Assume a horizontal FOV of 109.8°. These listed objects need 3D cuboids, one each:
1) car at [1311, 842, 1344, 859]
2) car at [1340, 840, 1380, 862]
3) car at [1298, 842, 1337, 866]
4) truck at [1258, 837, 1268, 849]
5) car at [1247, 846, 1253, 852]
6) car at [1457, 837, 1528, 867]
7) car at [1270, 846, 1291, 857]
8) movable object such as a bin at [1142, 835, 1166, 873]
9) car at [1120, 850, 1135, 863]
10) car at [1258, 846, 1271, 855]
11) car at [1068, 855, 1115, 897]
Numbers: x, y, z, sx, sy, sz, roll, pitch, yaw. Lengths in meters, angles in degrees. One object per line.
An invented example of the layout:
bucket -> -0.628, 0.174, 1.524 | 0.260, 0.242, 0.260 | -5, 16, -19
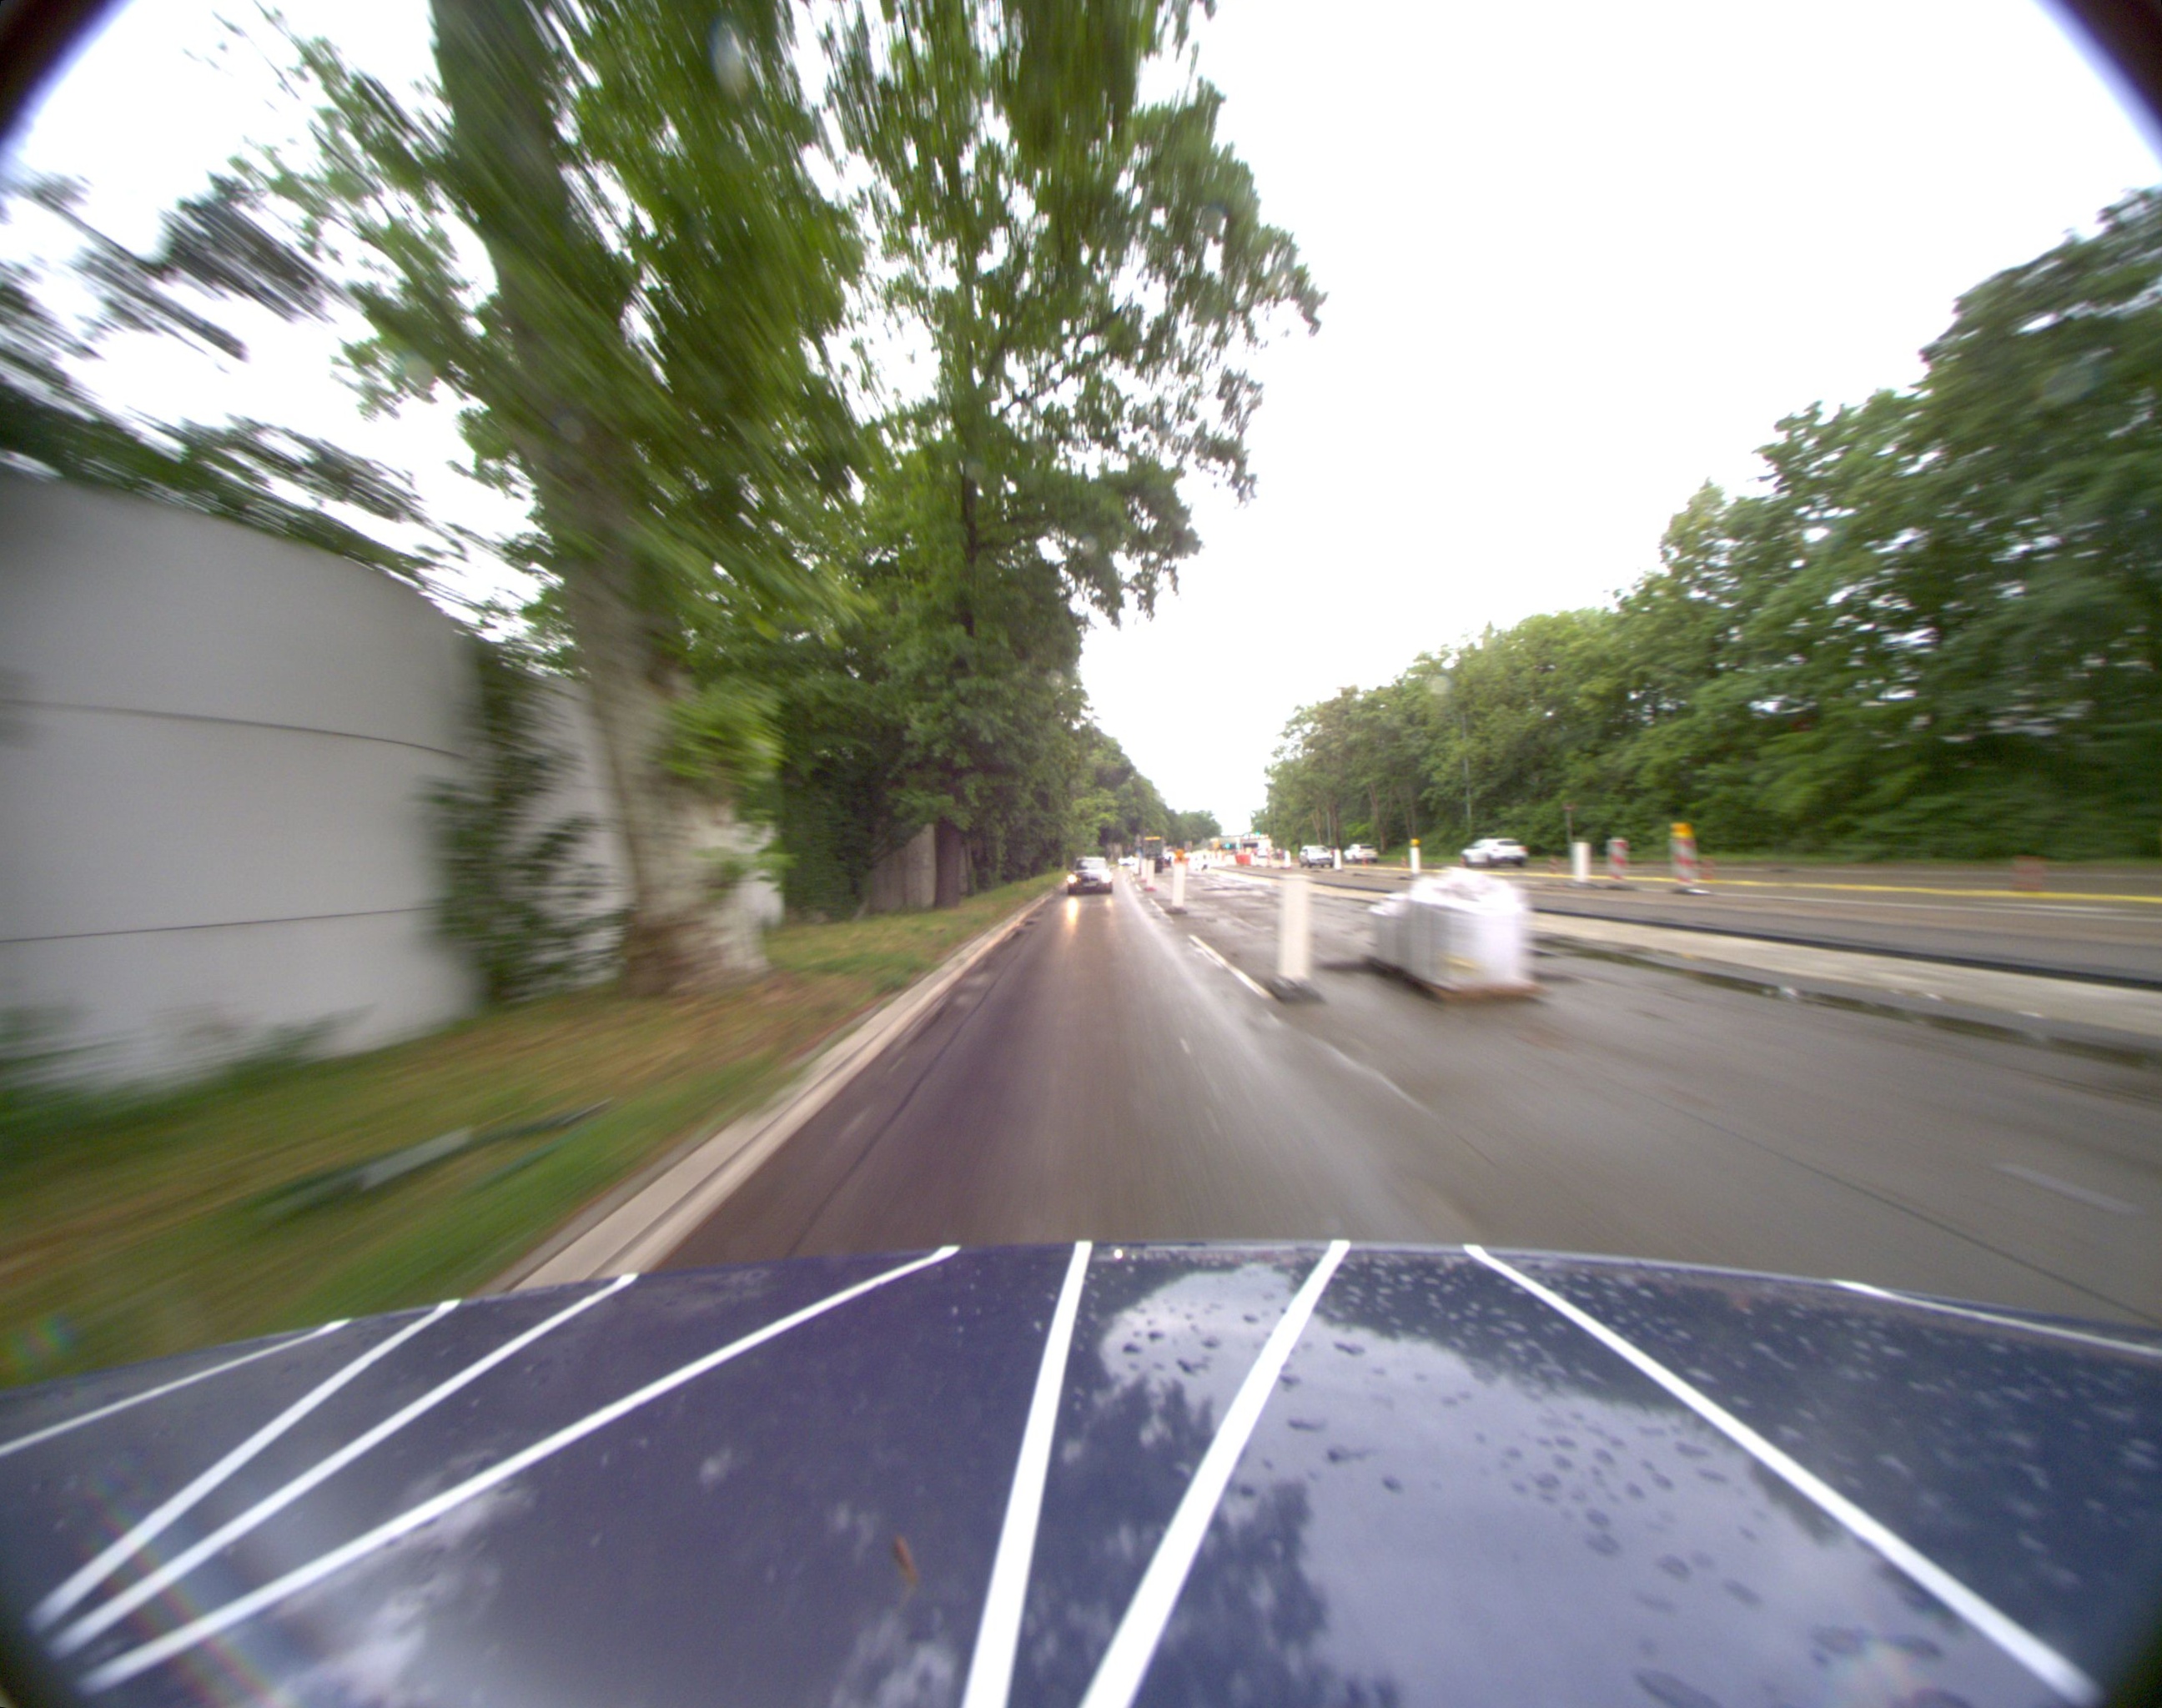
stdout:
car -> 25.196, -0.332, 77.820 | 1.781, 1.654, 4.915 | -1, 0, 0
car -> 23.684, -0.210, 64.594 | 1.781, 1.741, 4.380 | -2, 0, 0
car -> 17.006, 0.017, 54.768 | 1.793, 1.574, 3.862 | -3, 0, 4
truck -> 61.345, -3.788, 256.269 | 3.147, 3.809, 9.655 | -1, 1, 15
car -> 50.853, -1.559, 229.205 | 1.677, 1.604, 3.773 | -1, 0, 12
car -> 22.270, -0.103, 41.276 | 1.670, 1.532, 4.158 | 0, 0, 1
car -> 27.875, -0.379, 106.182 | 1.788, 1.444, 4.682 | -2, 0, 2
movable object such as a bin -> 6.024, -0.048, 63.168 | 1.807, 2.968, 5.247 | -2, 0, 5
car -> 6.702, 0.334, 108.995 | 1.706, 1.681, 4.474 | -2, 1, 7
car -> 31.952, -0.624, 132.220 | 1.787, 1.418, 4.472 | -2, 0, 9
car -> 0.482, 0.821, 30.066 | 1.701, 1.477, 4.000 | -2, 1, 3
